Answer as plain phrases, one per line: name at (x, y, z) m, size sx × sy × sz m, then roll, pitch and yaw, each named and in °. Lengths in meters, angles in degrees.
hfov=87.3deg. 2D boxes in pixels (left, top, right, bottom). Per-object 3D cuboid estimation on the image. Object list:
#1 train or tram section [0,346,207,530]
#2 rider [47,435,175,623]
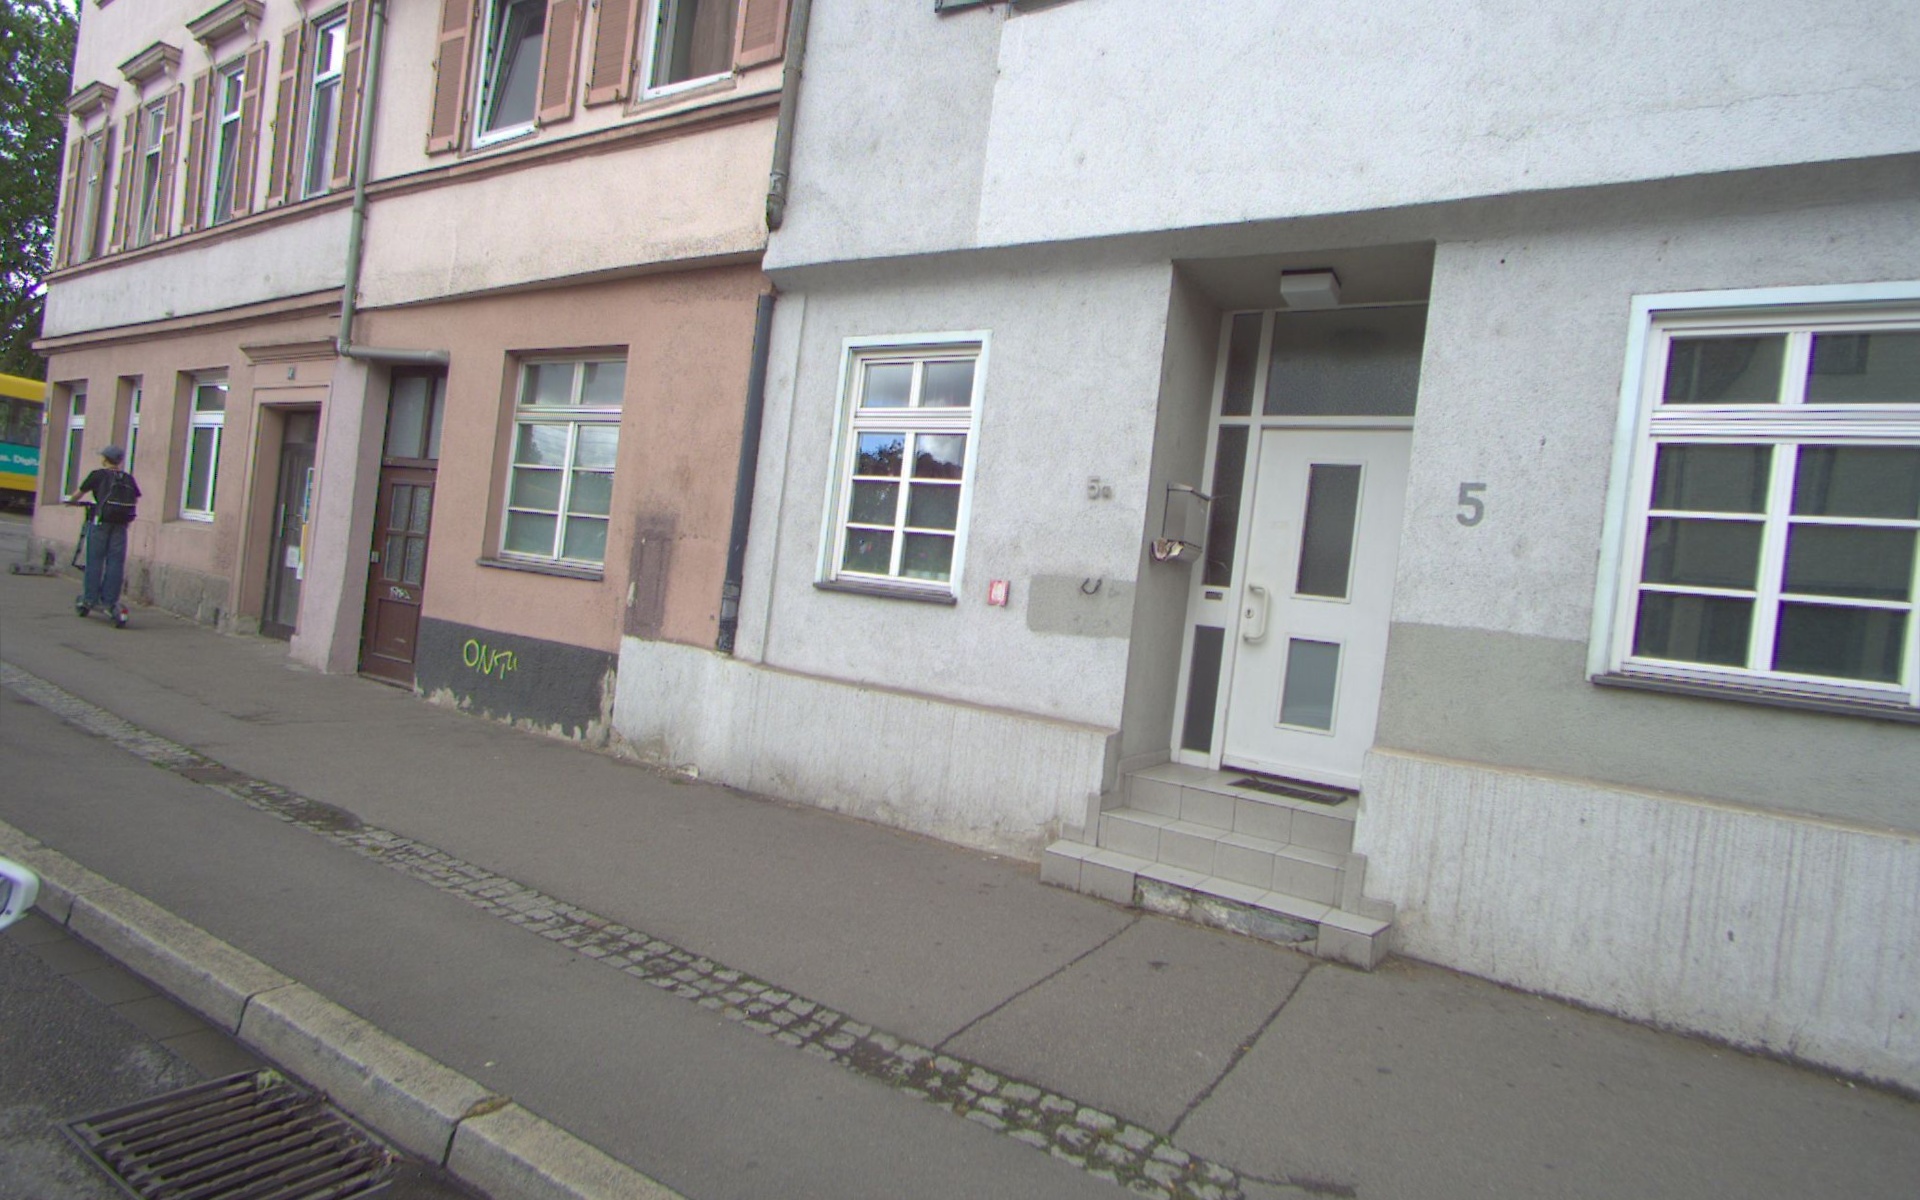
train or tram section at (-27.554, -4.796, 21.442) m, size 3.207 × 4.053 × 18.812 m, roll 10°, pitch 1°, yaw 26°
rider at (-9.063, -0.746, 10.742) m, size 0.784 × 1.871 × 0.718 m, roll 7°, pitch 2°, yaw 31°
